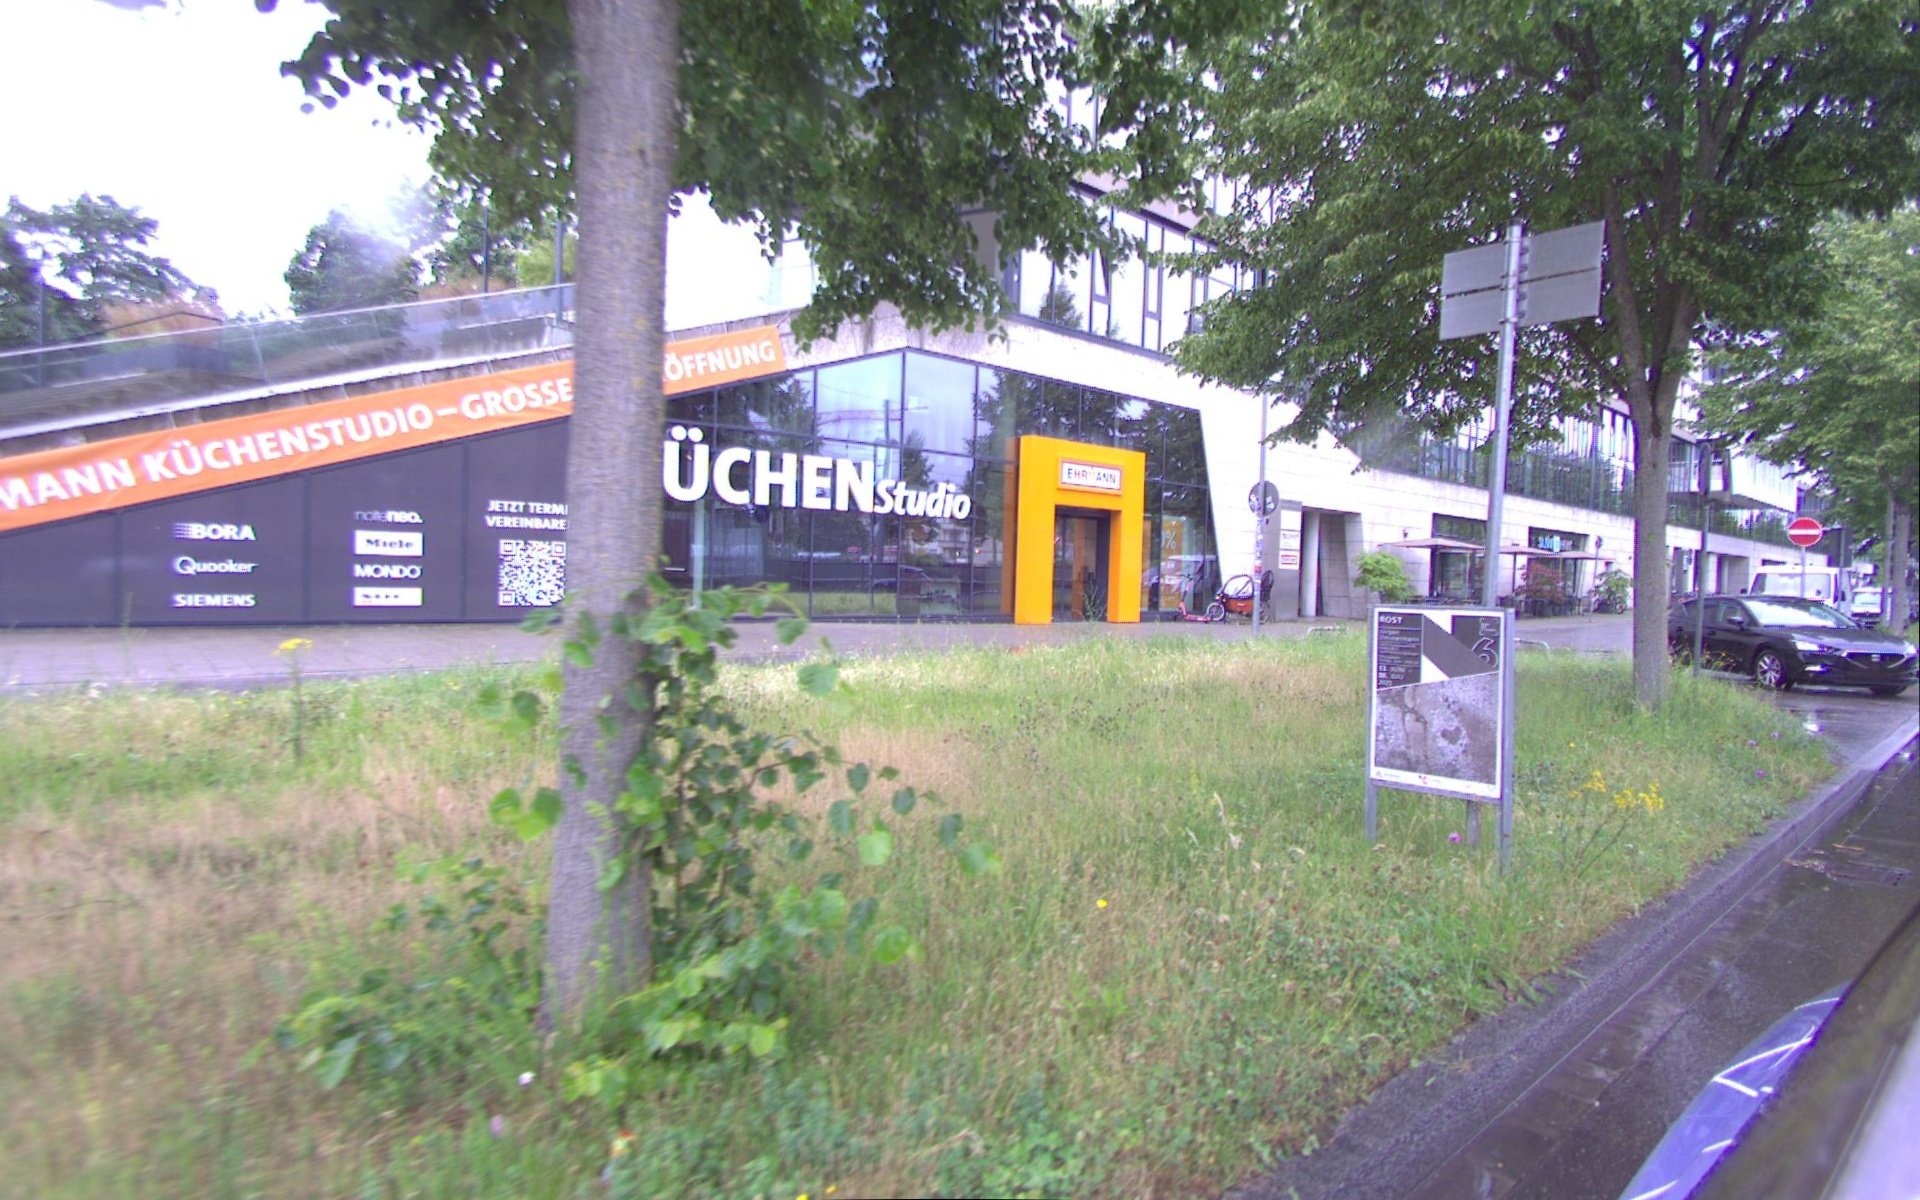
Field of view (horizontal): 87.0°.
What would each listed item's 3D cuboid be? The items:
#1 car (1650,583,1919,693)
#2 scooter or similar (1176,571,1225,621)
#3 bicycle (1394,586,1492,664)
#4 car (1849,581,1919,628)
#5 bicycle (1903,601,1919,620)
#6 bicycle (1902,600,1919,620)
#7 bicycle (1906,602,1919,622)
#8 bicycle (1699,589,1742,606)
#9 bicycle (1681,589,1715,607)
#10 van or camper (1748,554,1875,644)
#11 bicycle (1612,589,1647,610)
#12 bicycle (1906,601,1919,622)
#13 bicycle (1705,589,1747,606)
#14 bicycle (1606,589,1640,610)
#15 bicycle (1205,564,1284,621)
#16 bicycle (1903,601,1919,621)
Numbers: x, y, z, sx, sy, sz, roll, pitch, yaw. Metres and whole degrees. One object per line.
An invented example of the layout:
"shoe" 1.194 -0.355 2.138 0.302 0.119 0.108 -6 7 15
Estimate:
"car" 13.103 0.491 15.968 1.801 1.437 4.339 1 2 7
"scooter or similar" 6.097 -0.107 25.673 1.214 1.243 0.343 -1 0 -22
"bicycle" 8.947 0.440 18.824 0.521 1.363 1.852 2 0 -16
"car" 37.614 0.127 41.075 4.766 1.781 1.744 -1 2 -42
"bicycle" 47.137 0.516 49.221 0.389 0.958 1.857 0 0 -45
"bicycle" 48.192 0.495 50.244 0.389 0.958 2.035 0 0 -45
"bicycle" 45.847 0.575 47.804 0.389 0.958 1.694 0 0 -45
"bicycle" 46.948 -0.143 62.483 0.389 0.957 2.025 0 3 -45
"bicycle" 43.932 -0.132 60.248 0.339 0.957 1.665 1 3 -22
"van or camper" 24.250 -0.080 28.736 5.367 2.321 2.028 -1 2 -42
"bicycle" 31.567 -0.047 47.729 0.388 0.958 2.028 0 0 4
"bicycle" 46.333 0.553 48.343 0.389 0.958 1.645 0 0 -45
"bicycle" 47.929 -0.145 63.304 0.389 0.957 2.025 0 3 -45
"bicycle" 30.938 -0.038 47.257 0.388 0.958 2.028 0 0 4
"bicycle" 7.513 -0.200 26.679 2.382 1.419 0.734 1 3 -41
"bicycle" 46.664 0.525 48.748 0.389 0.958 1.788 0 0 -45
